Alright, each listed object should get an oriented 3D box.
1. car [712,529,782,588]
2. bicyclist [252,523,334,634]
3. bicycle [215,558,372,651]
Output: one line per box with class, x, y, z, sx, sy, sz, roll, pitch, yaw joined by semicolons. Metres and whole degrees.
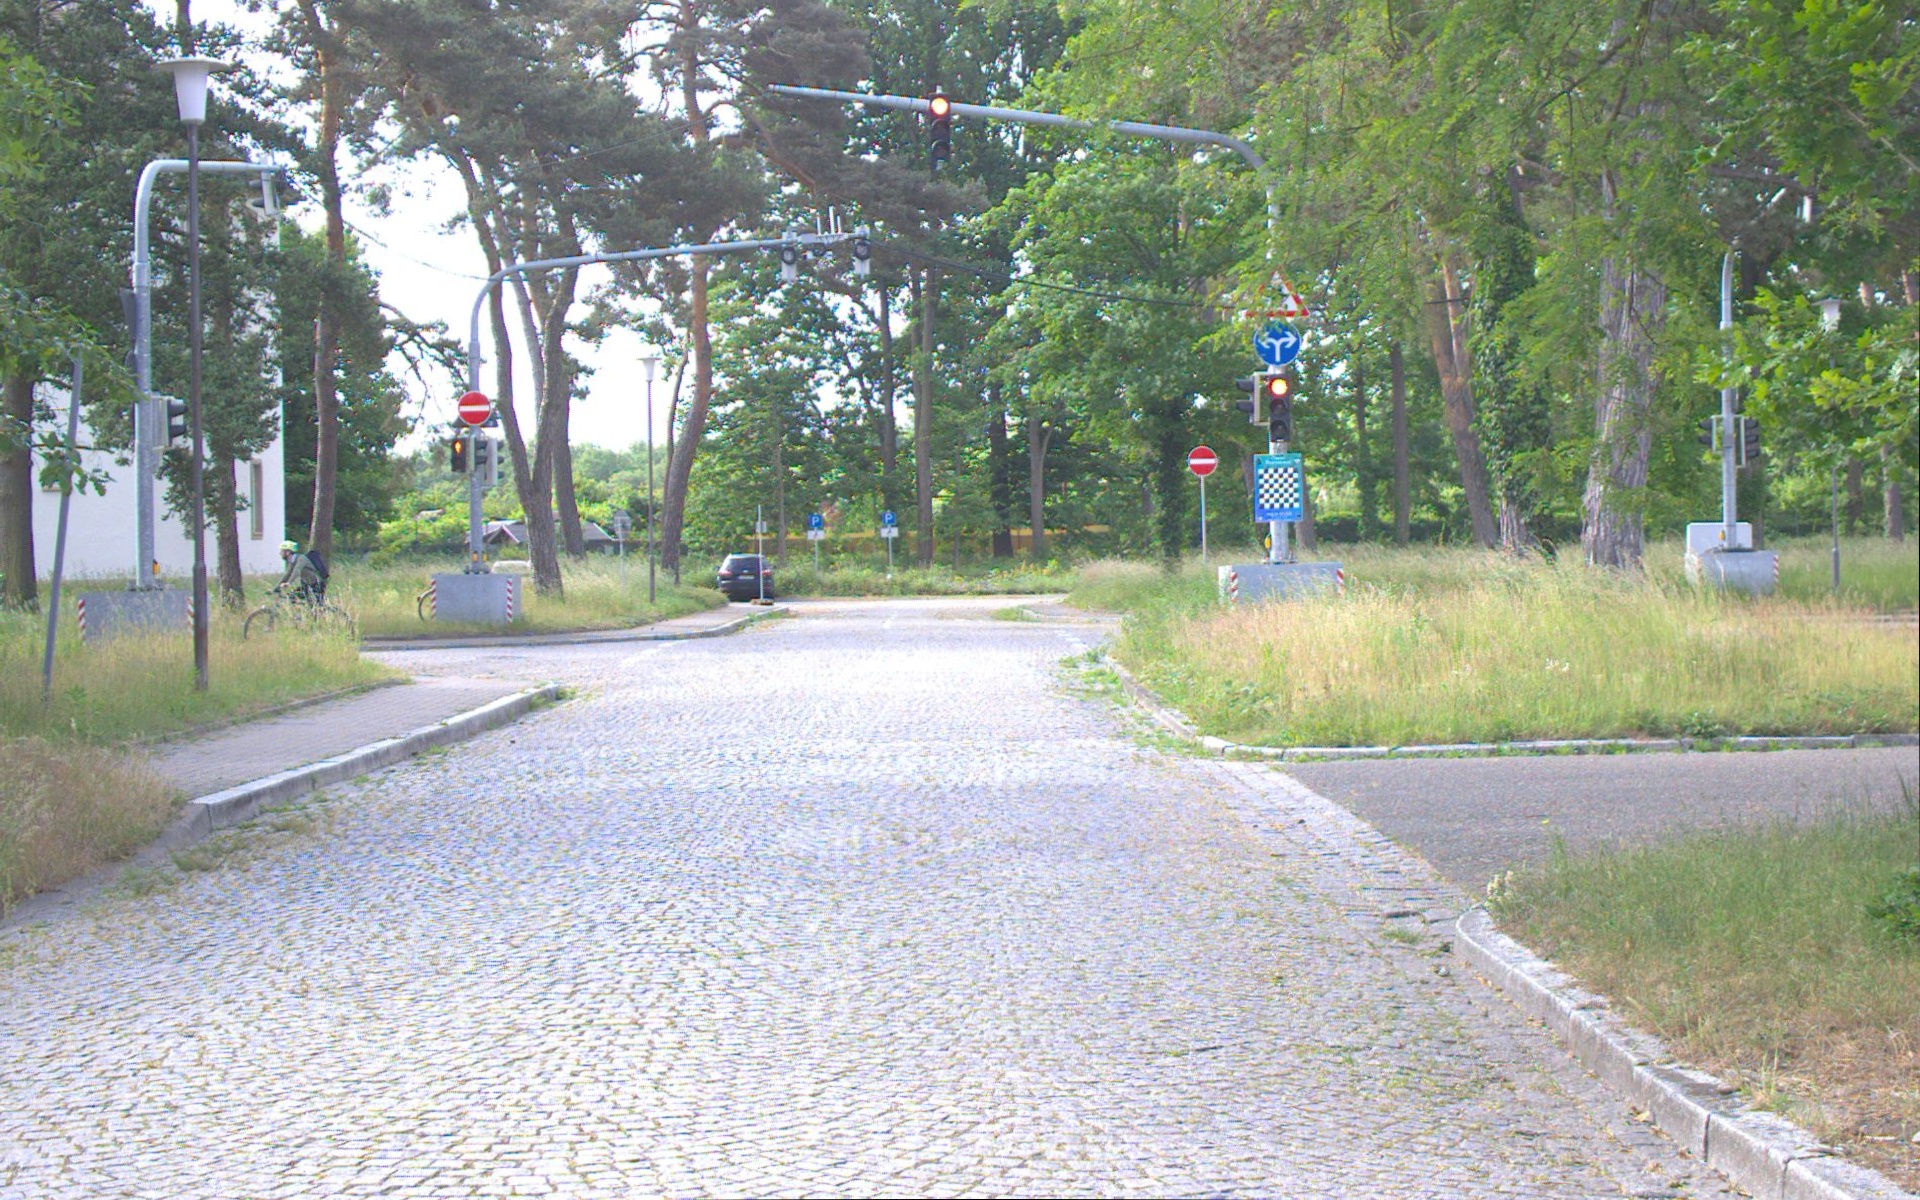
car;-6.881;-1.365;111.301;2.056;1.840;4.000;-1;1;-1
bicyclist;-10.384;-0.336;53.490;0.920;1.691;0.957;-1;0;-34
bicycle;-10.368;0.062;53.507;2.179;1.382;0.939;-2;1;-34
